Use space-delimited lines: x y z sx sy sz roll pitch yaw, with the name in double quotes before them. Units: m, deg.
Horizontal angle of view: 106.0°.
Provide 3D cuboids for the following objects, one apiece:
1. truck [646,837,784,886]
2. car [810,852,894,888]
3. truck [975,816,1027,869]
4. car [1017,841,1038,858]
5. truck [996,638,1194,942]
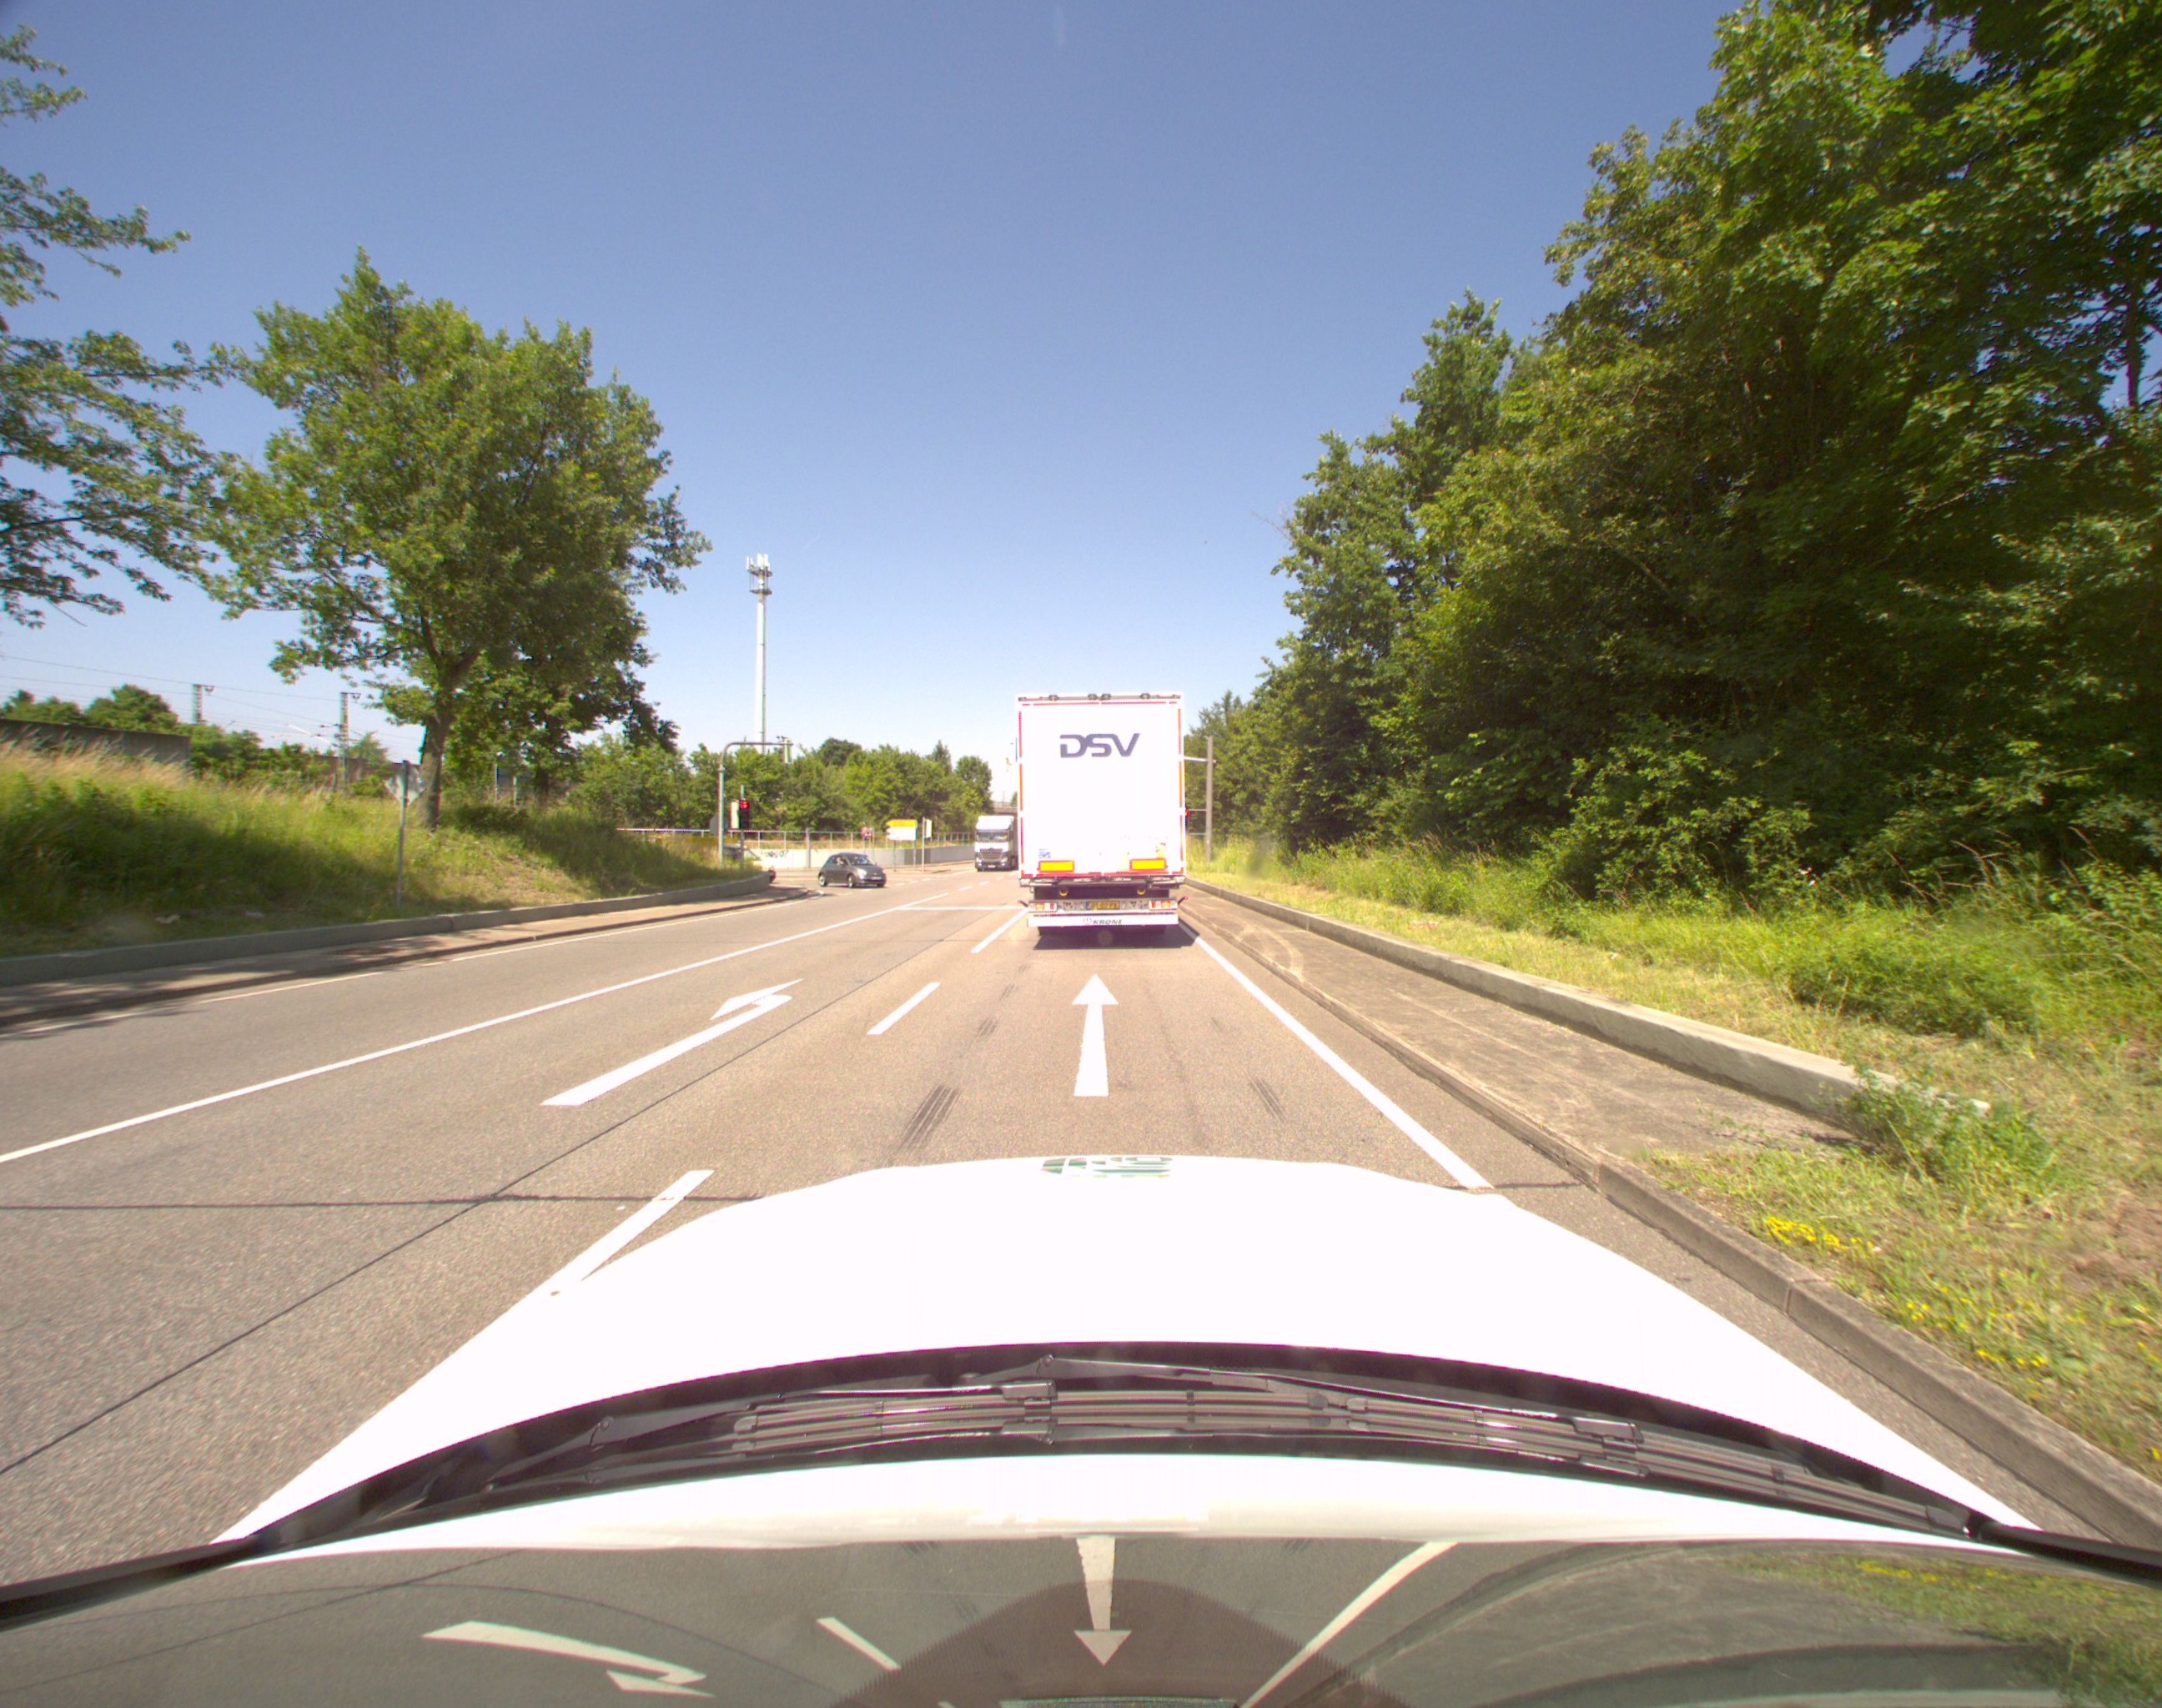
"truck" -17.762 0.343 39.579 5.967 2.274 1.990 -1 0 10
"car" -10.034 0.686 35.580 3.553 1.469 1.602 0 0 35
"truck" -6.070 -0.909 63.778 2.344 3.749 12.630 -1 1 2
"car" -5.248 -0.475 80.931 1.741 1.626 3.704 -1 1 1
"truck" 0.285 -0.998 17.254 2.939 4.568 9.864 -1 0 1
